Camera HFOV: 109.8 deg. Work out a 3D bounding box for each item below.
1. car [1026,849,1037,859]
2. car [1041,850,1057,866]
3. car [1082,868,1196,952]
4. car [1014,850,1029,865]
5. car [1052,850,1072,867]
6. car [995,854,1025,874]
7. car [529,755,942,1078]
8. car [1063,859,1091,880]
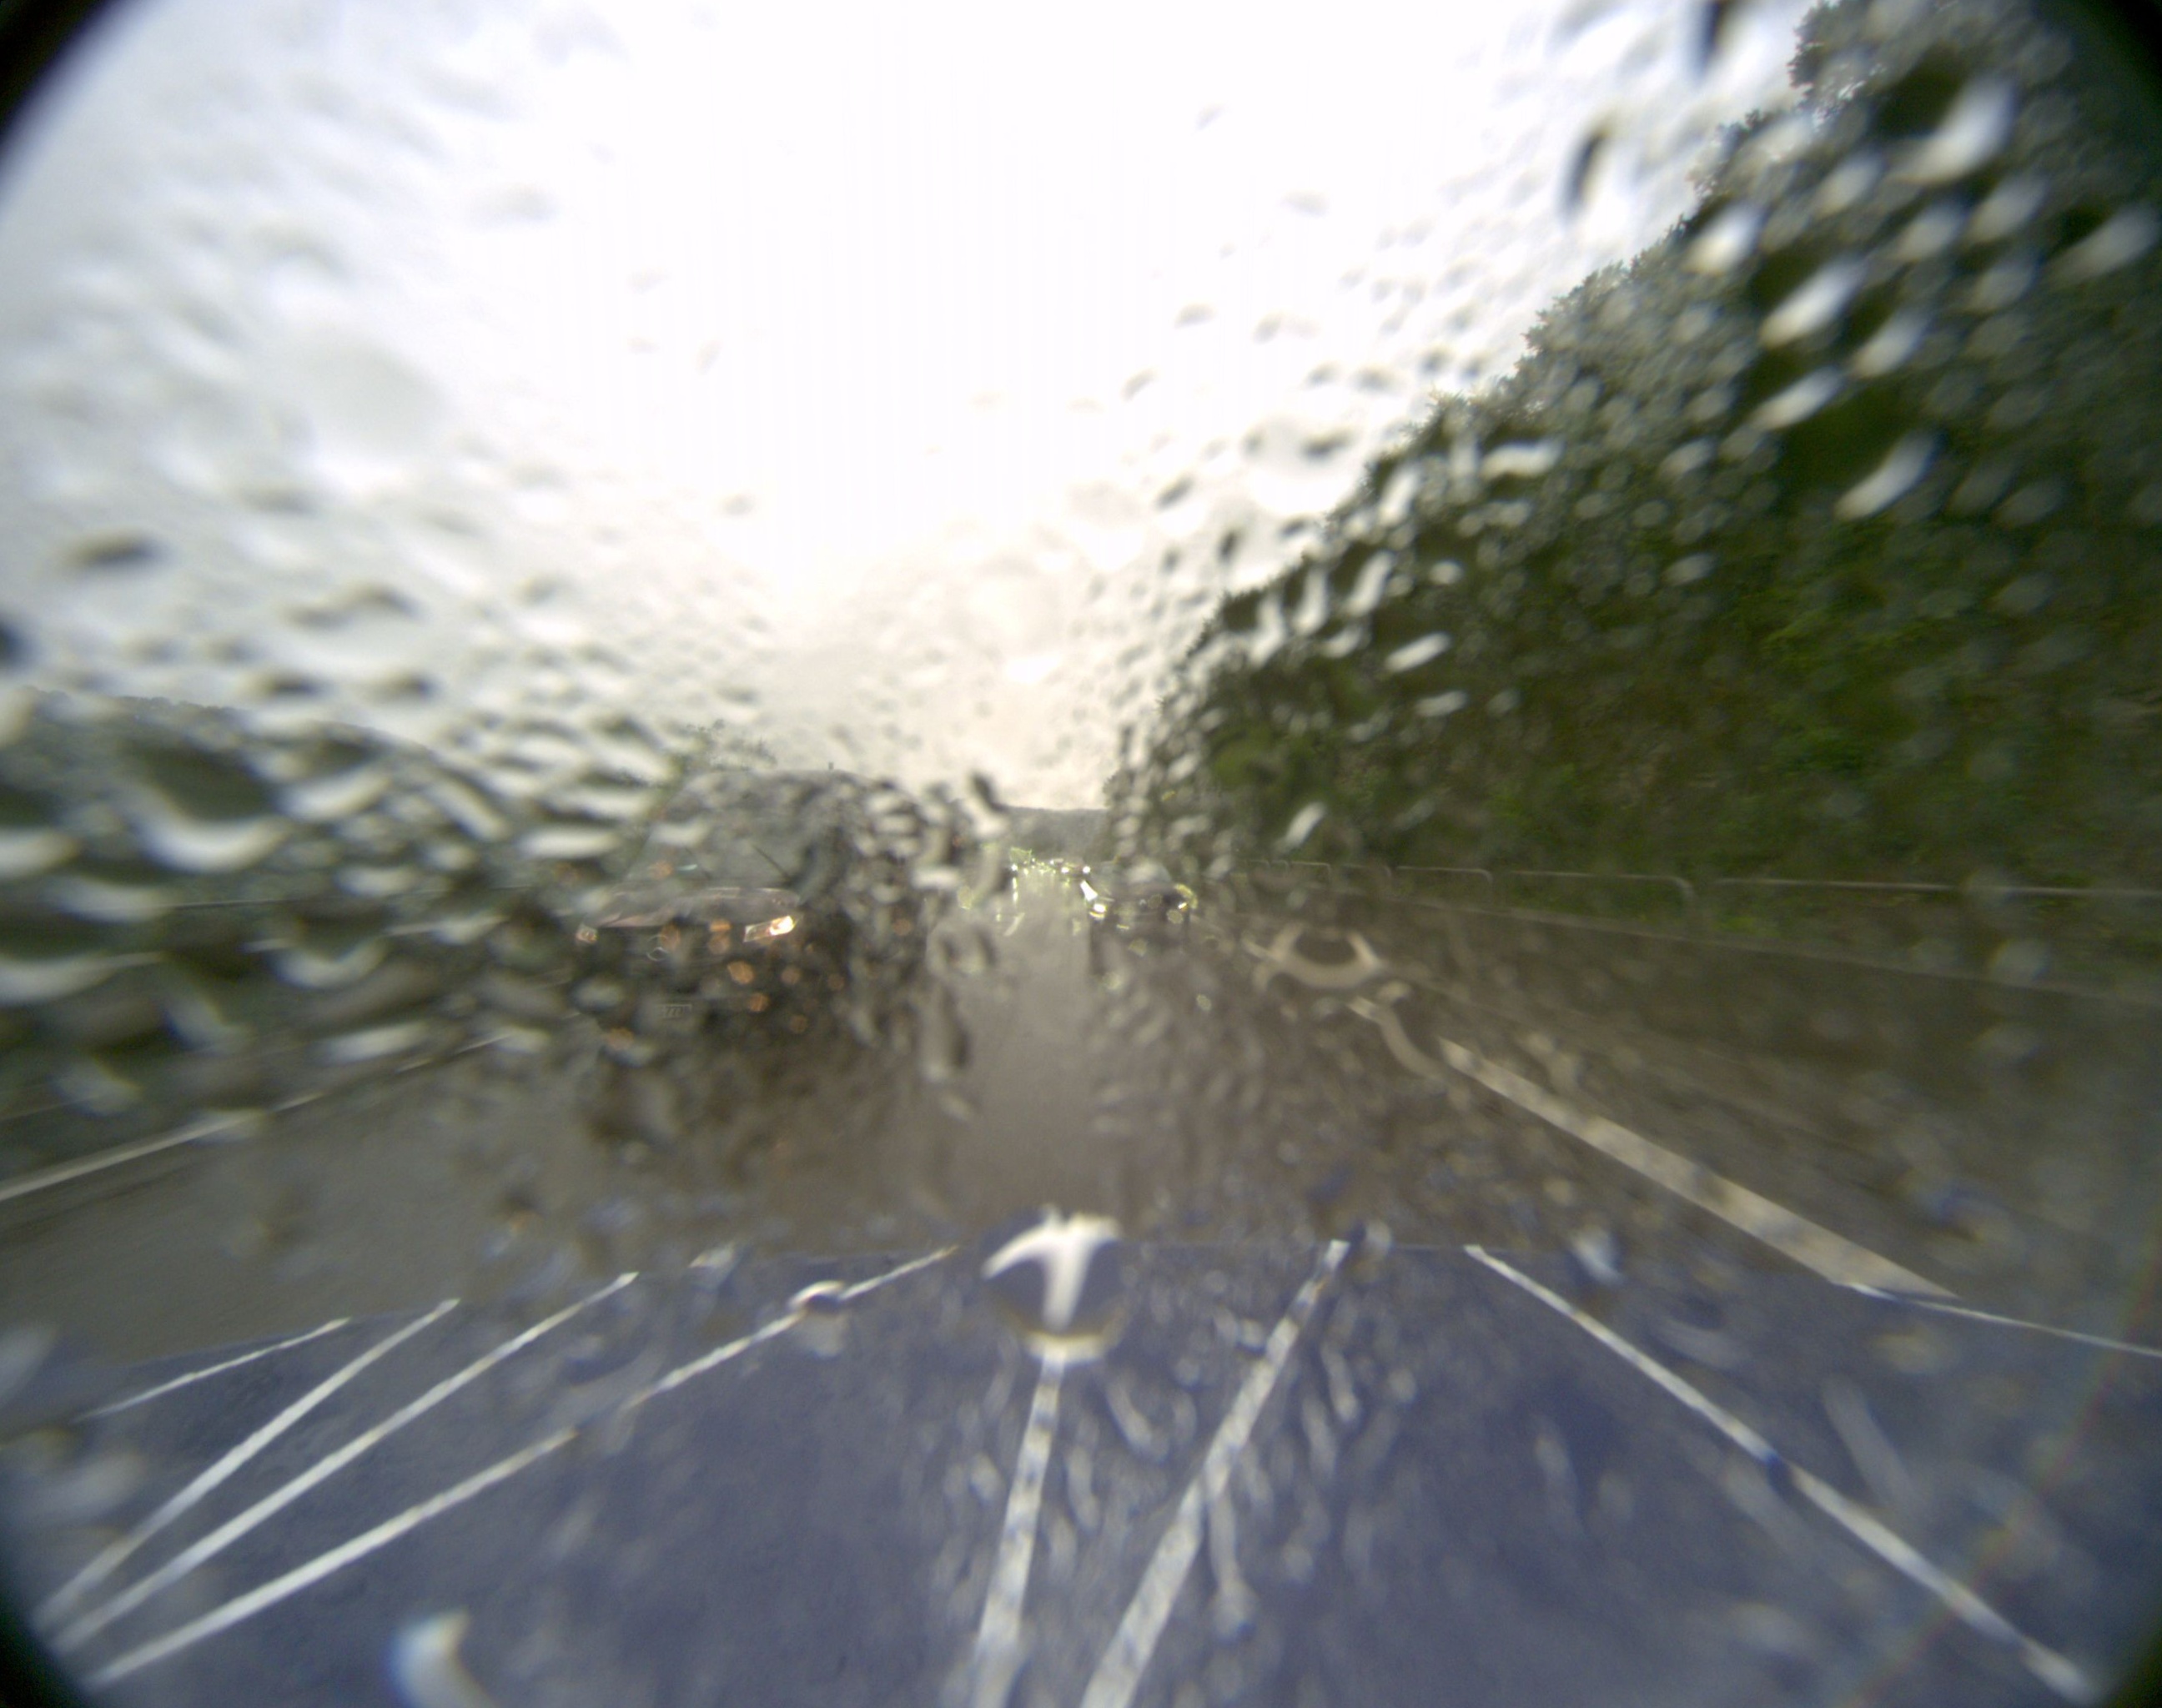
[{"bbox_3d":[-8.361,0.038,129.158,1.711,1.609,3.341,2,1,-2],"label":"car"},{"bbox_3d":[-3.760,0.480,88.464,1.805,1.723,3.764,-2,0,-3],"label":"car"},{"bbox_3d":[0.992,0.986,14.969,1.839,1.316,4.134,-1,0,-1],"label":"car"},{"bbox_3d":[-7.690,0.492,97.969,1.766,1.851,3.766,-2,0,-2],"label":"car"},{"bbox_3d":[-1.941,0.413,75.767,1.907,1.545,4.562,2,0,-3],"label":"car"},{"bbox_3d":[-5.526,0.755,59.878,1.991,1.407,4.563,-2,0,-1],"label":"car"},{"bbox_3d":[-3.288,0.482,9.257,1.999,2.479,6.704,-1,0,-1],"label":"car"},{"bbox_3d":[-0.307,0.967,48.634,1.713,1.316,3.944,0,0,-2],"label":"car"}]
